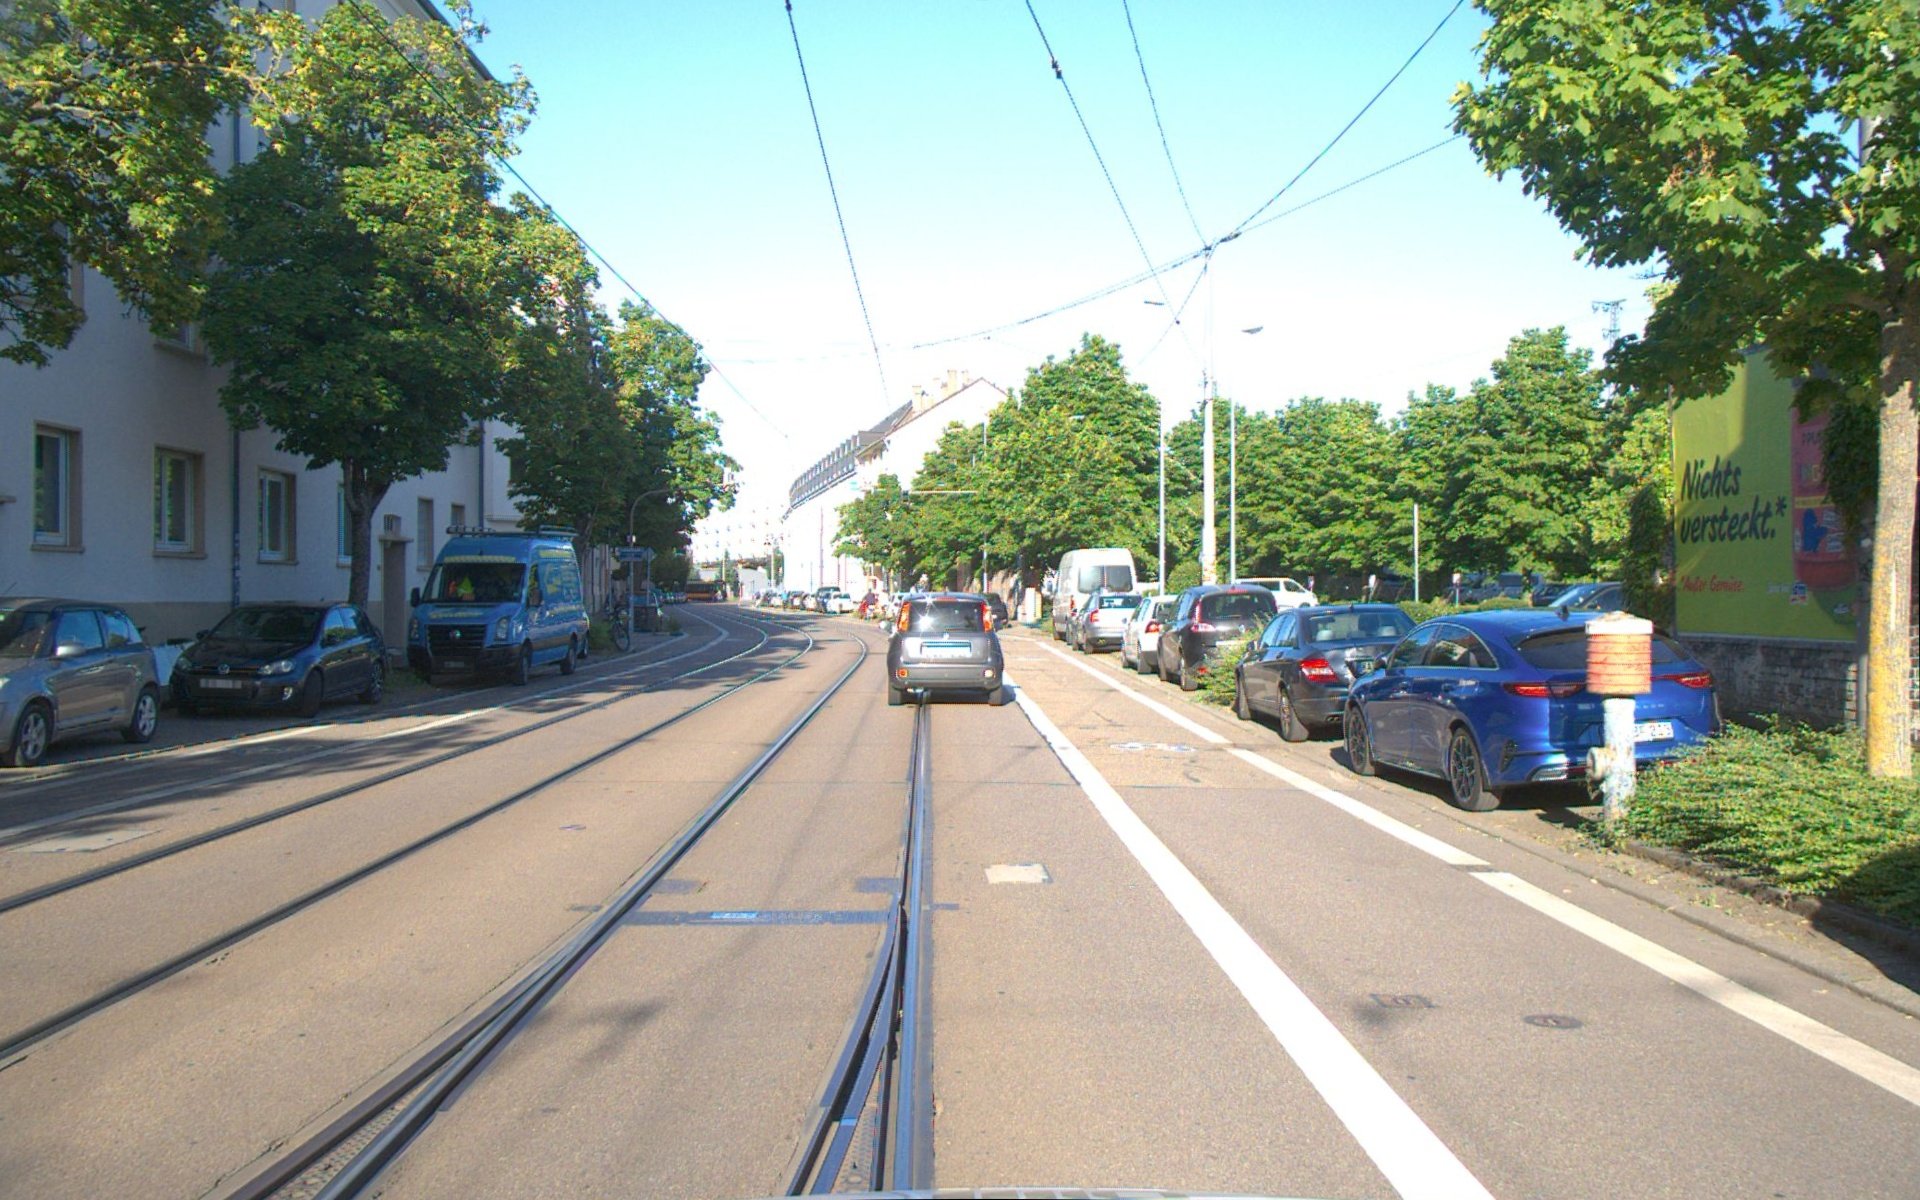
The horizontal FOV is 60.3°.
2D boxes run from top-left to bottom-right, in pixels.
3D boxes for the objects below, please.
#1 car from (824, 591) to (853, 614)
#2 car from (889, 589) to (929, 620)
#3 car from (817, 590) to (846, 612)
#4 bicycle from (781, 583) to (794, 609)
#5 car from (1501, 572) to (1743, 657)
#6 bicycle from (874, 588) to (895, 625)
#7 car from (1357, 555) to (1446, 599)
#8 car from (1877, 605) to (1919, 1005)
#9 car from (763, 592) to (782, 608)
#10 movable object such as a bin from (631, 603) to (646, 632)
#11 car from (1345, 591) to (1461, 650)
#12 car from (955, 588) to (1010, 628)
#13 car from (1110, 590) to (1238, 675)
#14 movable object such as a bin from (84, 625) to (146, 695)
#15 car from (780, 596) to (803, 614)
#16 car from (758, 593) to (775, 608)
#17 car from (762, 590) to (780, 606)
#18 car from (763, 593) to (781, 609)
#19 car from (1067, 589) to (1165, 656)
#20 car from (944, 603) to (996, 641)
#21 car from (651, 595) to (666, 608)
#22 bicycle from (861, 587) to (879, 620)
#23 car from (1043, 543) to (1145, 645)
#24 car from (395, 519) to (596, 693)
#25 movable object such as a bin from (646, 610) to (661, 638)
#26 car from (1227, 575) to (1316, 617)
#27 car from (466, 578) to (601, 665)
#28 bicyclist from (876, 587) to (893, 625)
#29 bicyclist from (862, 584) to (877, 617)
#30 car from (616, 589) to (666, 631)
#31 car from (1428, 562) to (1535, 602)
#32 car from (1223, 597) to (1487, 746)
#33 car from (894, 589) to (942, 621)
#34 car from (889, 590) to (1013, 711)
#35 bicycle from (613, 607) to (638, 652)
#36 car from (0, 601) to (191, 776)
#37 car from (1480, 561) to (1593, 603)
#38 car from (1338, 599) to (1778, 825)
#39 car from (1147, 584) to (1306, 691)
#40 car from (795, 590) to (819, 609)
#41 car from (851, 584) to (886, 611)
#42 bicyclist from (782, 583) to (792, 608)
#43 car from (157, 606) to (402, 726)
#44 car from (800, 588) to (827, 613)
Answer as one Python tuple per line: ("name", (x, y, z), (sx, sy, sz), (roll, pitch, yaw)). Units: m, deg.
("car", (-8.587, 0.168, 116.754), (1.626, 1.599, 3.489), (1, 0, -12))
("car", (-2.738, 0.223, 88.305), (1.657, 1.556, 3.993), (-2, 0, -8))
("car", (-9.388, 0.073, 120.965), (1.626, 1.599, 3.865), (1, 0, -11))
("bicycle", (-14.235, -0.333, 136.242), (0.728, 2.049, 2.803), (1, 0, -12))
("car", (11.782, 0.252, 29.573), (3.628, 1.424, 1.758), (1, 0, -2))
("bicycle", (-3.665, 0.300, 79.789), (0.663, 1.777, 2.151), (1, 0, -12))
("car", (23.623, -1.245, 88.598), (4.115, 2.280, 2.136), (-1, 0, -14))
("car", (4.601, 0.748, 4.620), (1.788, 1.519, 3.812), (-2, 0, -3))
("car", (-18.604, 0.007, 164.223), (1.555, 1.627, 3.366), (1, 0, -12))
("movable object such as a bin", (-11.502, 0.629, 59.224), (0.475, 1.005, 0.658), (1, 0, -9))
("car", (8.416, 0.375, 31.602), (1.283, 1.051, 3.055), (1, 0, -2))
("car", (0.894, 0.305, 67.570), (1.657, 1.556, 3.993), (-2, 0, -8))
("car", (4.128, 0.587, 32.472), (1.694, 1.538, 4.248), (1, 0, -4))
("movable object such as a bin", (-11.869, 0.838, 23.251), (0.584, 0.951, 0.568), (-1, 0, -4))
("car", (-14.947, 0.450, 146.475), (1.555, 1.429, 3.366), (-4, 1, -12))
("car", (-21.354, 0.078, 182.802), (1.555, 1.627, 3.366), (1, 0, -12))
("car", (-19.477, -0.171, 170.490), (1.555, 1.627, 3.366), (1, 0, -12))
("car", (-20.124, 0.095, 177.091), (1.555, 1.627, 3.366), (1, 0, -12))
("car", (3.857, 0.524, 41.685), (1.872, 1.556, 4.599), (-1, 0, -2))
("car", (0.396, 0.940, 72.049), (1.657, 1.556, 4.347), (-2, 0, -8))
("car", (-36.878, 0.150, 202.389), (1.676, 1.523, 3.713), (1, 0, -10))
("bicycle", (-4.836, 0.175, 88.999), (0.663, 1.777, 2.151), (1, 0, -12))
("car", (3.834, -0.162, 48.369), (2.136, 2.712, 6.088), (-2, 0, -3))
("car", (-8.406, 0.103, 30.606), (1.976, 2.875, 6.031), (1, 0, 0))
("movable object such as a bin", (-10.995, 0.857, 59.320), (0.475, 1.005, 0.658), (1, 0, -9))
("car", (16.197, -0.210, 86.037), (4.198, 2.049, 1.771), (-2, 0, -7))
("car", (-9.631, 0.464, 37.688), (1.757, 1.586, 4.641), (9, 0, -1))
("bicyclist", (-3.659, 0.283, 79.758), (0.687, 1.790, 0.755), (1, 0, -12))
("bicyclist", (-4.871, 0.023, 89.099), (0.687, 1.790, 0.755), (1, 0, -12))
("car", (-12.410, 0.367, 64.520), (1.656, 1.557, 3.993), (1, 0, -7))
("car", (25.331, -0.852, 80.422), (4.597, 1.847, 1.957), (1, 0, -10))
("car", (4.361, 0.726, 19.001), (1.694, 1.489, 4.495), (1, 0, -4))
("car", (-2.154, 0.244, 83.861), (1.660, 1.556, 3.986), (-2, 0, -13))
("car", (-0.161, 0.655, 23.932), (1.616, 1.568, 4.233), (1, 0, -1))
("bicycle", (-8.881, 0.781, 43.957), (0.502, 1.154, 2.027), (1, 0, -8))
("car", (-9.273, 0.779, 16.215), (1.618, 1.517, 3.999), (1, 0, -1))
("car", (26.553, -0.811, 76.226), (4.597, 1.847, 1.957), (1, 0, -10))
("car", (4.481, 0.749, 13.164), (1.694, 1.489, 4.338), (1, 0, -4))
("car", (4.364, 0.583, 27.691), (1.694, 1.632, 4.339), (1, 0, -4))
("car", (-12.645, -0.044, 136.902), (1.626, 1.526, 3.121), (1, 0, -12))
("car", (-5.455, -0.138, 98.757), (1.606, 1.534, 3.388), (-3, 1, -11))
("bicyclist", (-14.256, -0.396, 136.370), (0.702, 2.049, 0.829), (1, 0, -12))
("car", (-9.115, 0.826, 22.537), (1.618, 1.450, 4.189), (1, 0, -1))
("car", (-11.695, 0.021, 132.149), (1.626, 1.978, 4.651), (1, 0, -11))
